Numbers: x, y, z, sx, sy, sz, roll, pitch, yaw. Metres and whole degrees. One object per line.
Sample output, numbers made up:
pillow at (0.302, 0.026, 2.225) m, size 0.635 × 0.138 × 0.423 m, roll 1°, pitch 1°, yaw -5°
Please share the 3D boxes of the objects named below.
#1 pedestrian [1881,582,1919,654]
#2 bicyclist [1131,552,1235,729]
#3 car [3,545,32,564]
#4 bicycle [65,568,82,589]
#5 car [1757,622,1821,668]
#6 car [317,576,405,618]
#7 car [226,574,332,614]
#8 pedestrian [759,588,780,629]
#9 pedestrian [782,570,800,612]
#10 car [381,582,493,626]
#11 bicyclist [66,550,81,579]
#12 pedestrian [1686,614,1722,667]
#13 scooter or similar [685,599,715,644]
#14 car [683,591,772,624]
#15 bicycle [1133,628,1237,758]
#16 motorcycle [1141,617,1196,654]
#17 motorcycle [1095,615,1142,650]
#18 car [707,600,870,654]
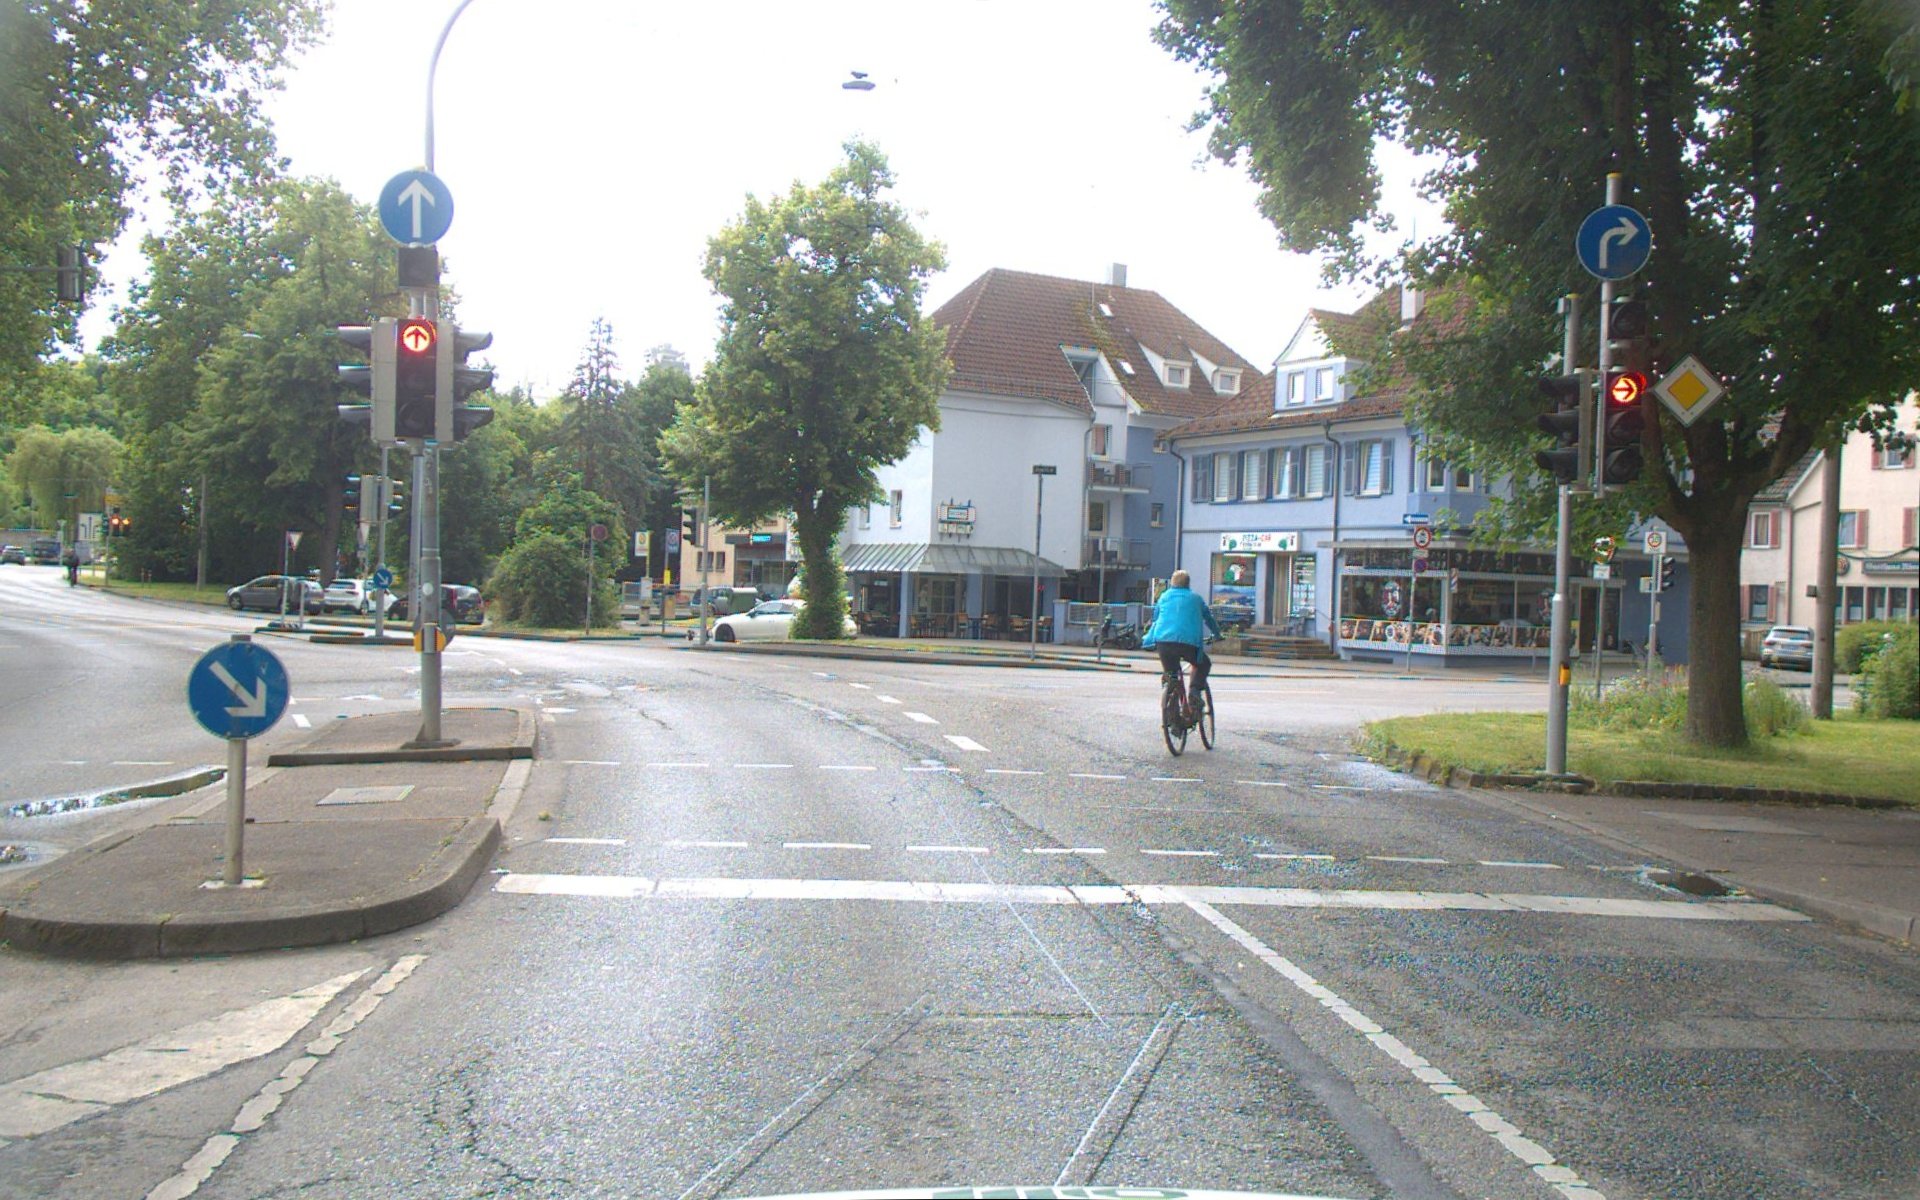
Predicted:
pedestrian at (20.977, 0.405, 36.893) m, size 0.717 × 1.587 × 0.767 m, roll 1°, pitch -1°, yaw 28°
bicyclist at (2.228, 0.384, 16.422) m, size 0.896 × 1.680 × 0.989 m, roll 1°, pitch 0°, yaw 13°
car at (-83.842, -4.036, 147.064) m, size 1.976 × 1.624 × 3.953 m, roll 1°, pitch -1°, yaw -34°
bicycle at (-42.868, -1.057, 79.978) m, size 0.551 × 0.975 × 2.010 m, roll 1°, pitch 0°, yaw -32°
car at (27.968, 1.490, 55.806) m, size 1.848 × 1.415 × 3.610 m, roll 1°, pitch 0°, yaw 27°
car at (-24.894, -0.130, 68.840) m, size 1.821 × 1.668 × 3.757 m, roll 1°, pitch 0°, yaw 9°
car at (-27.078, -0.228, 65.787) m, size 3.694 × 1.491 × 1.622 m, roll 1°, pitch 0°, yaw 16°
pedestrian at (-9.616, 0.422, 83.487) m, size 0.824 × 2.049 × 1.051 m, roll 1°, pitch 0°, yaw -17°
pedestrian at (-6.341, -0.333, 62.085) m, size 0.531 × 1.587 × 0.468 m, roll 1°, pitch -1°, yaw 11°
car at (-17.680, 0.132, 55.926) m, size 3.251 × 1.376 × 1.779 m, roll 1°, pitch 0°, yaw 25°
bicyclist at (-42.870, -1.703, 80.006) m, size 0.535 × 1.365 × 0.706 m, roll 1°, pitch 0°, yaw -34°
pedestrian at (22.576, 1.221, 50.188) m, size 0.660 × 1.587 × 0.743 m, roll 1°, pitch -1°, yaw -17°
scooter or similar at (-7.145, 0.586, 45.505) m, size 0.433 × 1.195 × 1.439 m, roll 1°, pitch 0°, yaw 7°
car at (-11.020, 0.339, 78.360) m, size 3.883 × 1.467 × 1.741 m, roll 1°, pitch 0°, yaw -22°
bicycle at (2.280, 0.885, 16.533) m, size 0.855 × 1.169 × 1.954 m, roll 1°, pitch 0°, yaw 12°
motorcycle at (6.540, 1.103, 51.894) m, size 1.595 × 1.107 × 0.626 m, roll 1°, pitch 0°, yaw 30°
motorcycle at (5.134, 1.041, 53.600) m, size 1.429 × 1.107 × 0.522 m, roll 1°, pitch 0°, yaw 33°
car at (-5.073, 0.769, 48.747) m, size 4.616 × 1.435 × 1.897 m, roll 1°, pitch 0°, yaw 33°
